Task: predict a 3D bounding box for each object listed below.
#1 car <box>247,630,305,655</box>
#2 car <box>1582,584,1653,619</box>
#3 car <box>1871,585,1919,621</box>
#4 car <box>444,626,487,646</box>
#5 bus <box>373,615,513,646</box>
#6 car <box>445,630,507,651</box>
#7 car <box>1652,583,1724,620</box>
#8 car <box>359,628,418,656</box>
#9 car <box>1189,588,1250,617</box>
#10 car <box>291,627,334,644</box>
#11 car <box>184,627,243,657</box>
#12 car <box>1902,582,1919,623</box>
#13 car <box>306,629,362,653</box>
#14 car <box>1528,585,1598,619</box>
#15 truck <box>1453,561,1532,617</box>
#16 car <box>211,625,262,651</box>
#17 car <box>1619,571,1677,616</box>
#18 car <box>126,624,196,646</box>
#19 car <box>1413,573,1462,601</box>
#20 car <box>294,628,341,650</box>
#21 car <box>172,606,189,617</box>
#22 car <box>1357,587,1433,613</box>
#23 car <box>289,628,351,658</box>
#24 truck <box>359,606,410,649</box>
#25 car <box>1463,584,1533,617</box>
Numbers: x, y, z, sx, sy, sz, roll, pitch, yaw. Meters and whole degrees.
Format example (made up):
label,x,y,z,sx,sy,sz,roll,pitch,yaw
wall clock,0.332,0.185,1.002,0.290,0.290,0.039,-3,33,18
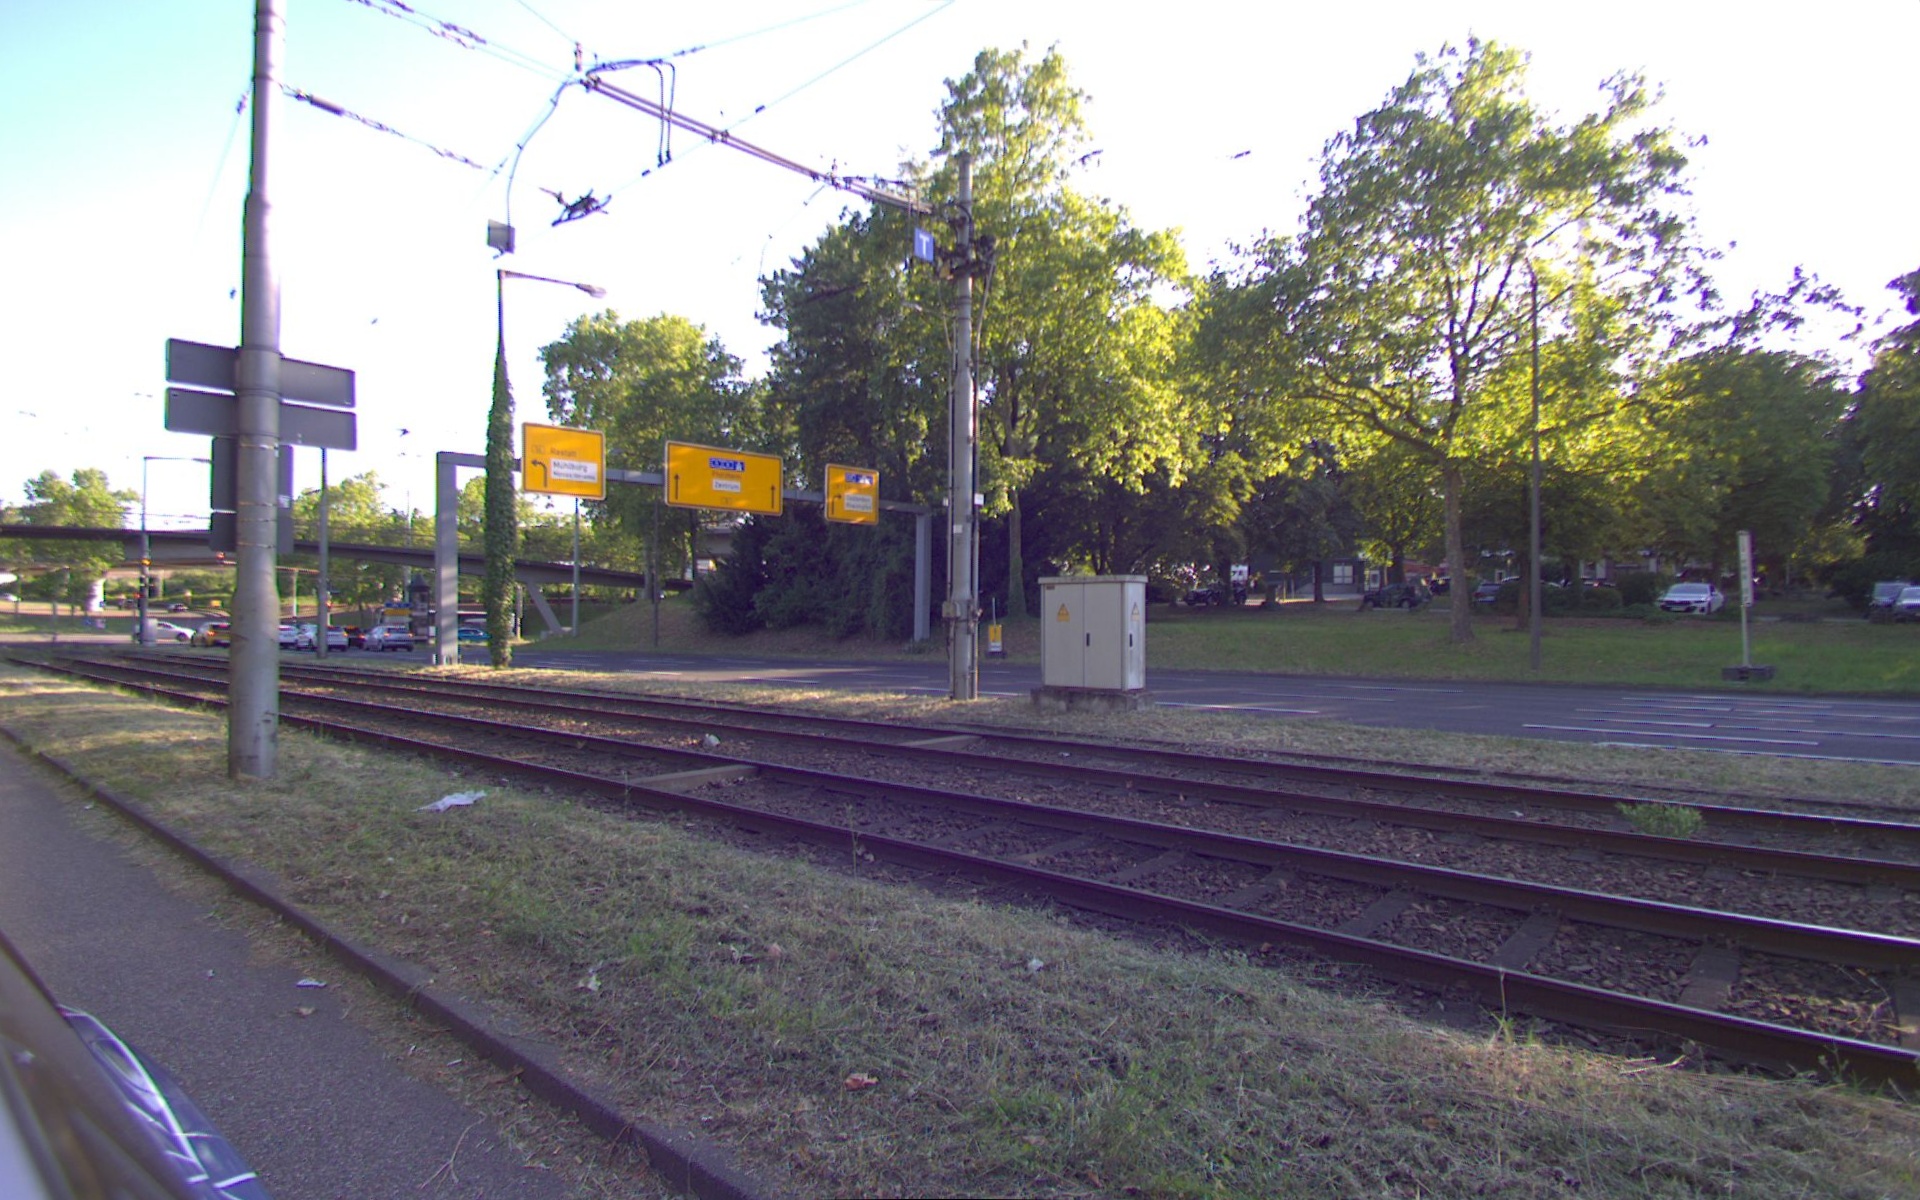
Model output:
label,x,y,z,sx,sy,sz,roll,pitch,yaw
car,-40.559,2.497,59.954,4.226,1.435,1.893,-2,-1,42
car,30.046,0.047,46.217,1.942,1.521,4.039,-1,0,44
car,43.980,0.121,47.222,3.998,1.628,1.864,-1,0,-43
car,-50.355,3.676,103.050,3.748,1.872,1.682,-1,0,-30
bus,-54.234,3.138,106.560,12.965,2.884,2.425,-1,0,-26
car,-41.497,3.461,86.813,4.726,1.584,1.945,-1,-1,-29
car,31.572,0.038,43.841,1.942,1.521,4.039,-1,0,44
car,-33.350,2.418,59.046,3.998,1.556,1.789,-2,-1,41
car,15.407,0.139,59.955,1.791,1.657,3.942,-1,-1,44
car,-64.949,3.551,101.552,3.593,1.523,1.668,-1,0,-30
car,-40.790,2.256,55.255,3.997,1.556,1.744,-2,-1,40
car,37.591,0.058,38.889,1.942,1.521,4.039,-1,0,44
car,-39.747,2.581,64.228,4.224,1.435,1.844,-2,-1,40
car,28.436,0.060,47.654,1.942,1.521,4.039,-1,0,44
truck,31.754,-0.630,60.282,2.503,3.191,6.137,-1,0,45
car,-45.830,2.372,64.036,4.228,1.561,1.892,-2,-2,44
car,36.897,-0.356,54.236,2.161,2.320,4.348,-1,0,40
car,-59.924,2.640,75.961,3.962,1.504,1.628,-1,0,-33
car,33.568,-0.922,71.059,2.290,1.864,5.214,-1,1,34
car,-44.258,2.664,69.674,1.891,1.435,4.229,0,-2,-44
car,-125.694,1.861,163.092,1.806,1.630,3.986,-1,0,-43
car,25.188,-0.007,58.627,3.725,1.474,1.651,0,1,44
car,-34.962,2.310,55.235,3.997,1.556,1.744,-2,-1,40
truck,-40.288,1.895,70.768,2.248,2.901,6.895,0,-1,-37
car,26.181,0.005,49.183,1.942,1.521,4.039,-1,0,44
